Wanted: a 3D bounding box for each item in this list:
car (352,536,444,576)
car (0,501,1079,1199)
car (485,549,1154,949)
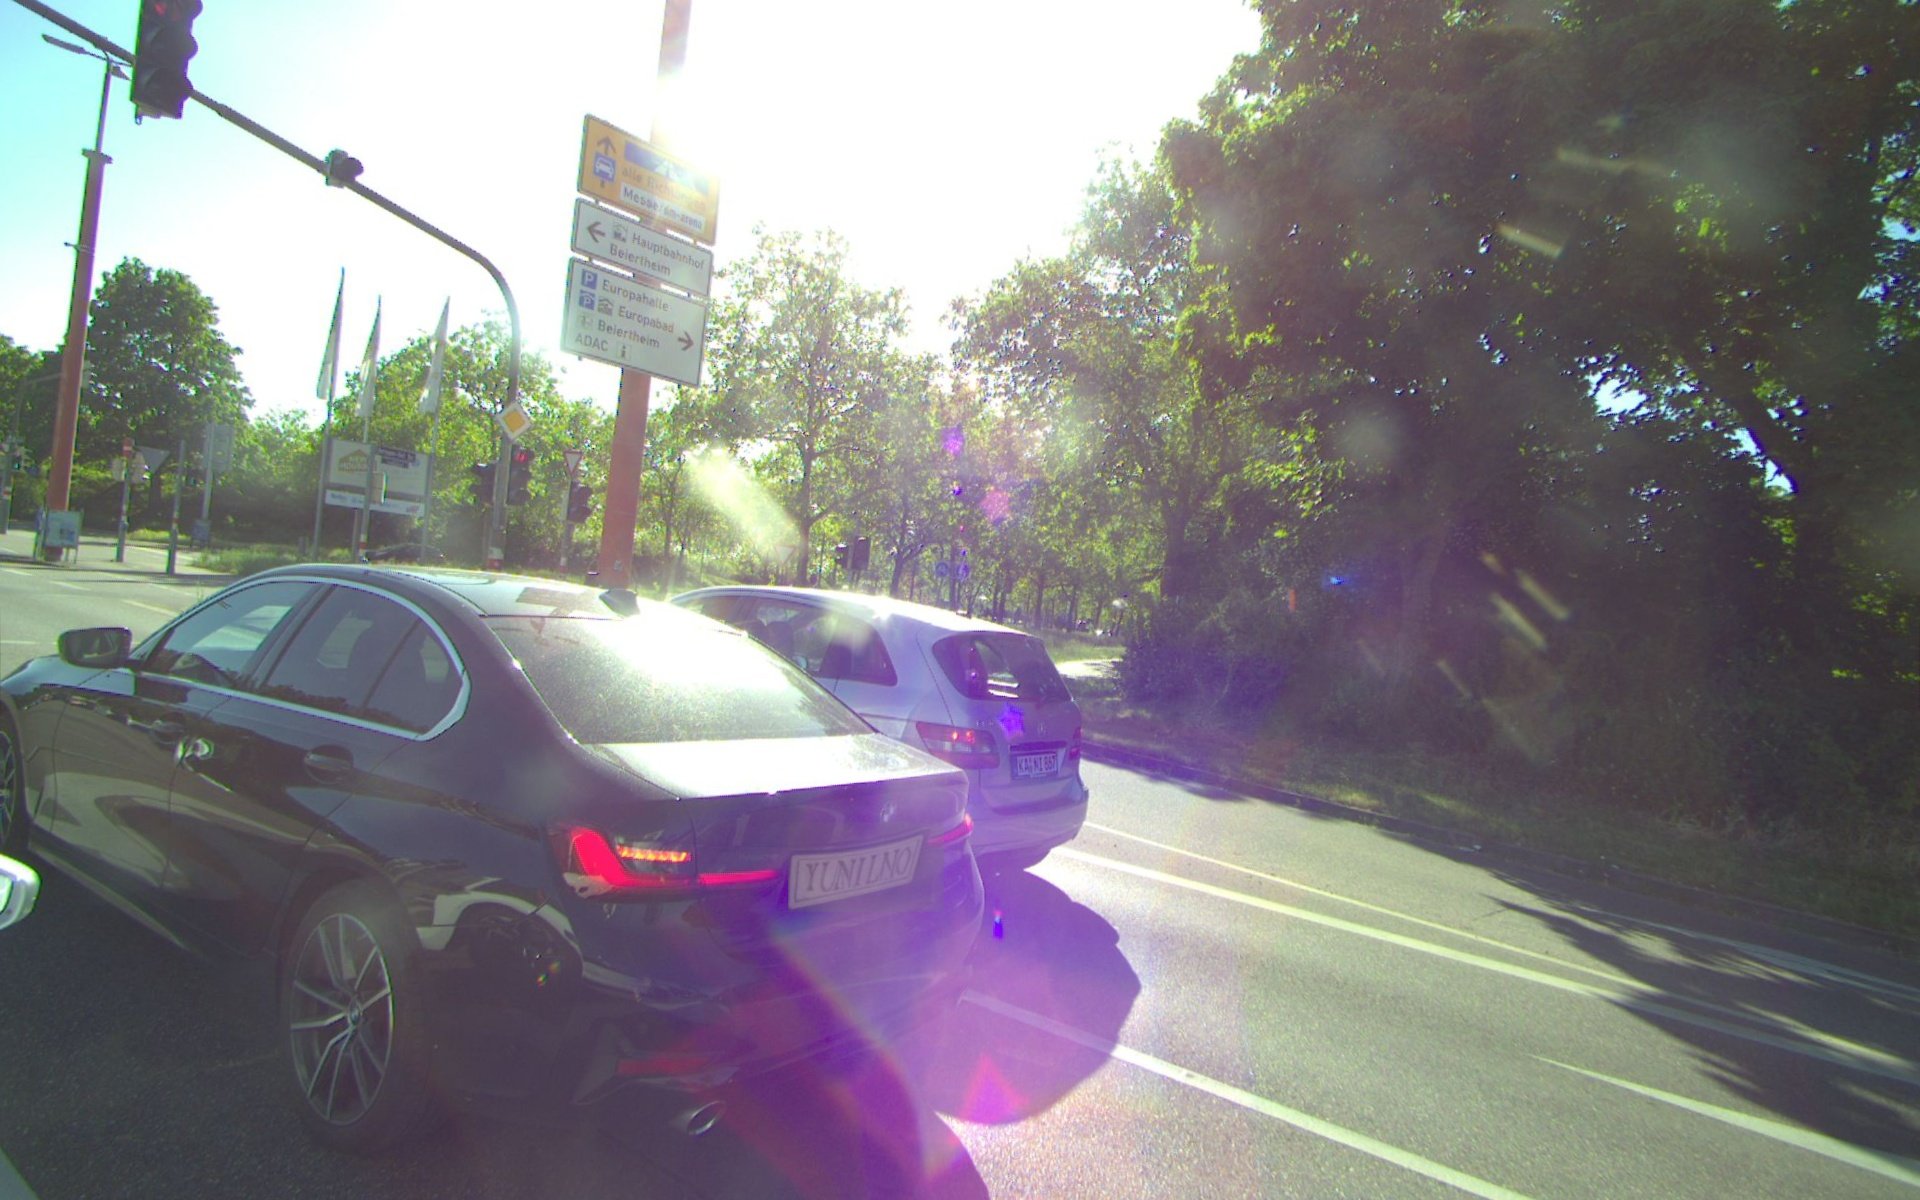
[{"bbox_3d":[-30.982,-2.399,55.586,1.836,1.597,3.997,7,-1,27],"label":"car"},{"bbox_3d":[-1.985,0.548,3.861,4.372,1.415,1.871,7,0,34],"label":"car"},{"bbox_3d":[-1.020,0.708,6.486,3.963,1.597,1.741,7,0,33],"label":"car"}]
